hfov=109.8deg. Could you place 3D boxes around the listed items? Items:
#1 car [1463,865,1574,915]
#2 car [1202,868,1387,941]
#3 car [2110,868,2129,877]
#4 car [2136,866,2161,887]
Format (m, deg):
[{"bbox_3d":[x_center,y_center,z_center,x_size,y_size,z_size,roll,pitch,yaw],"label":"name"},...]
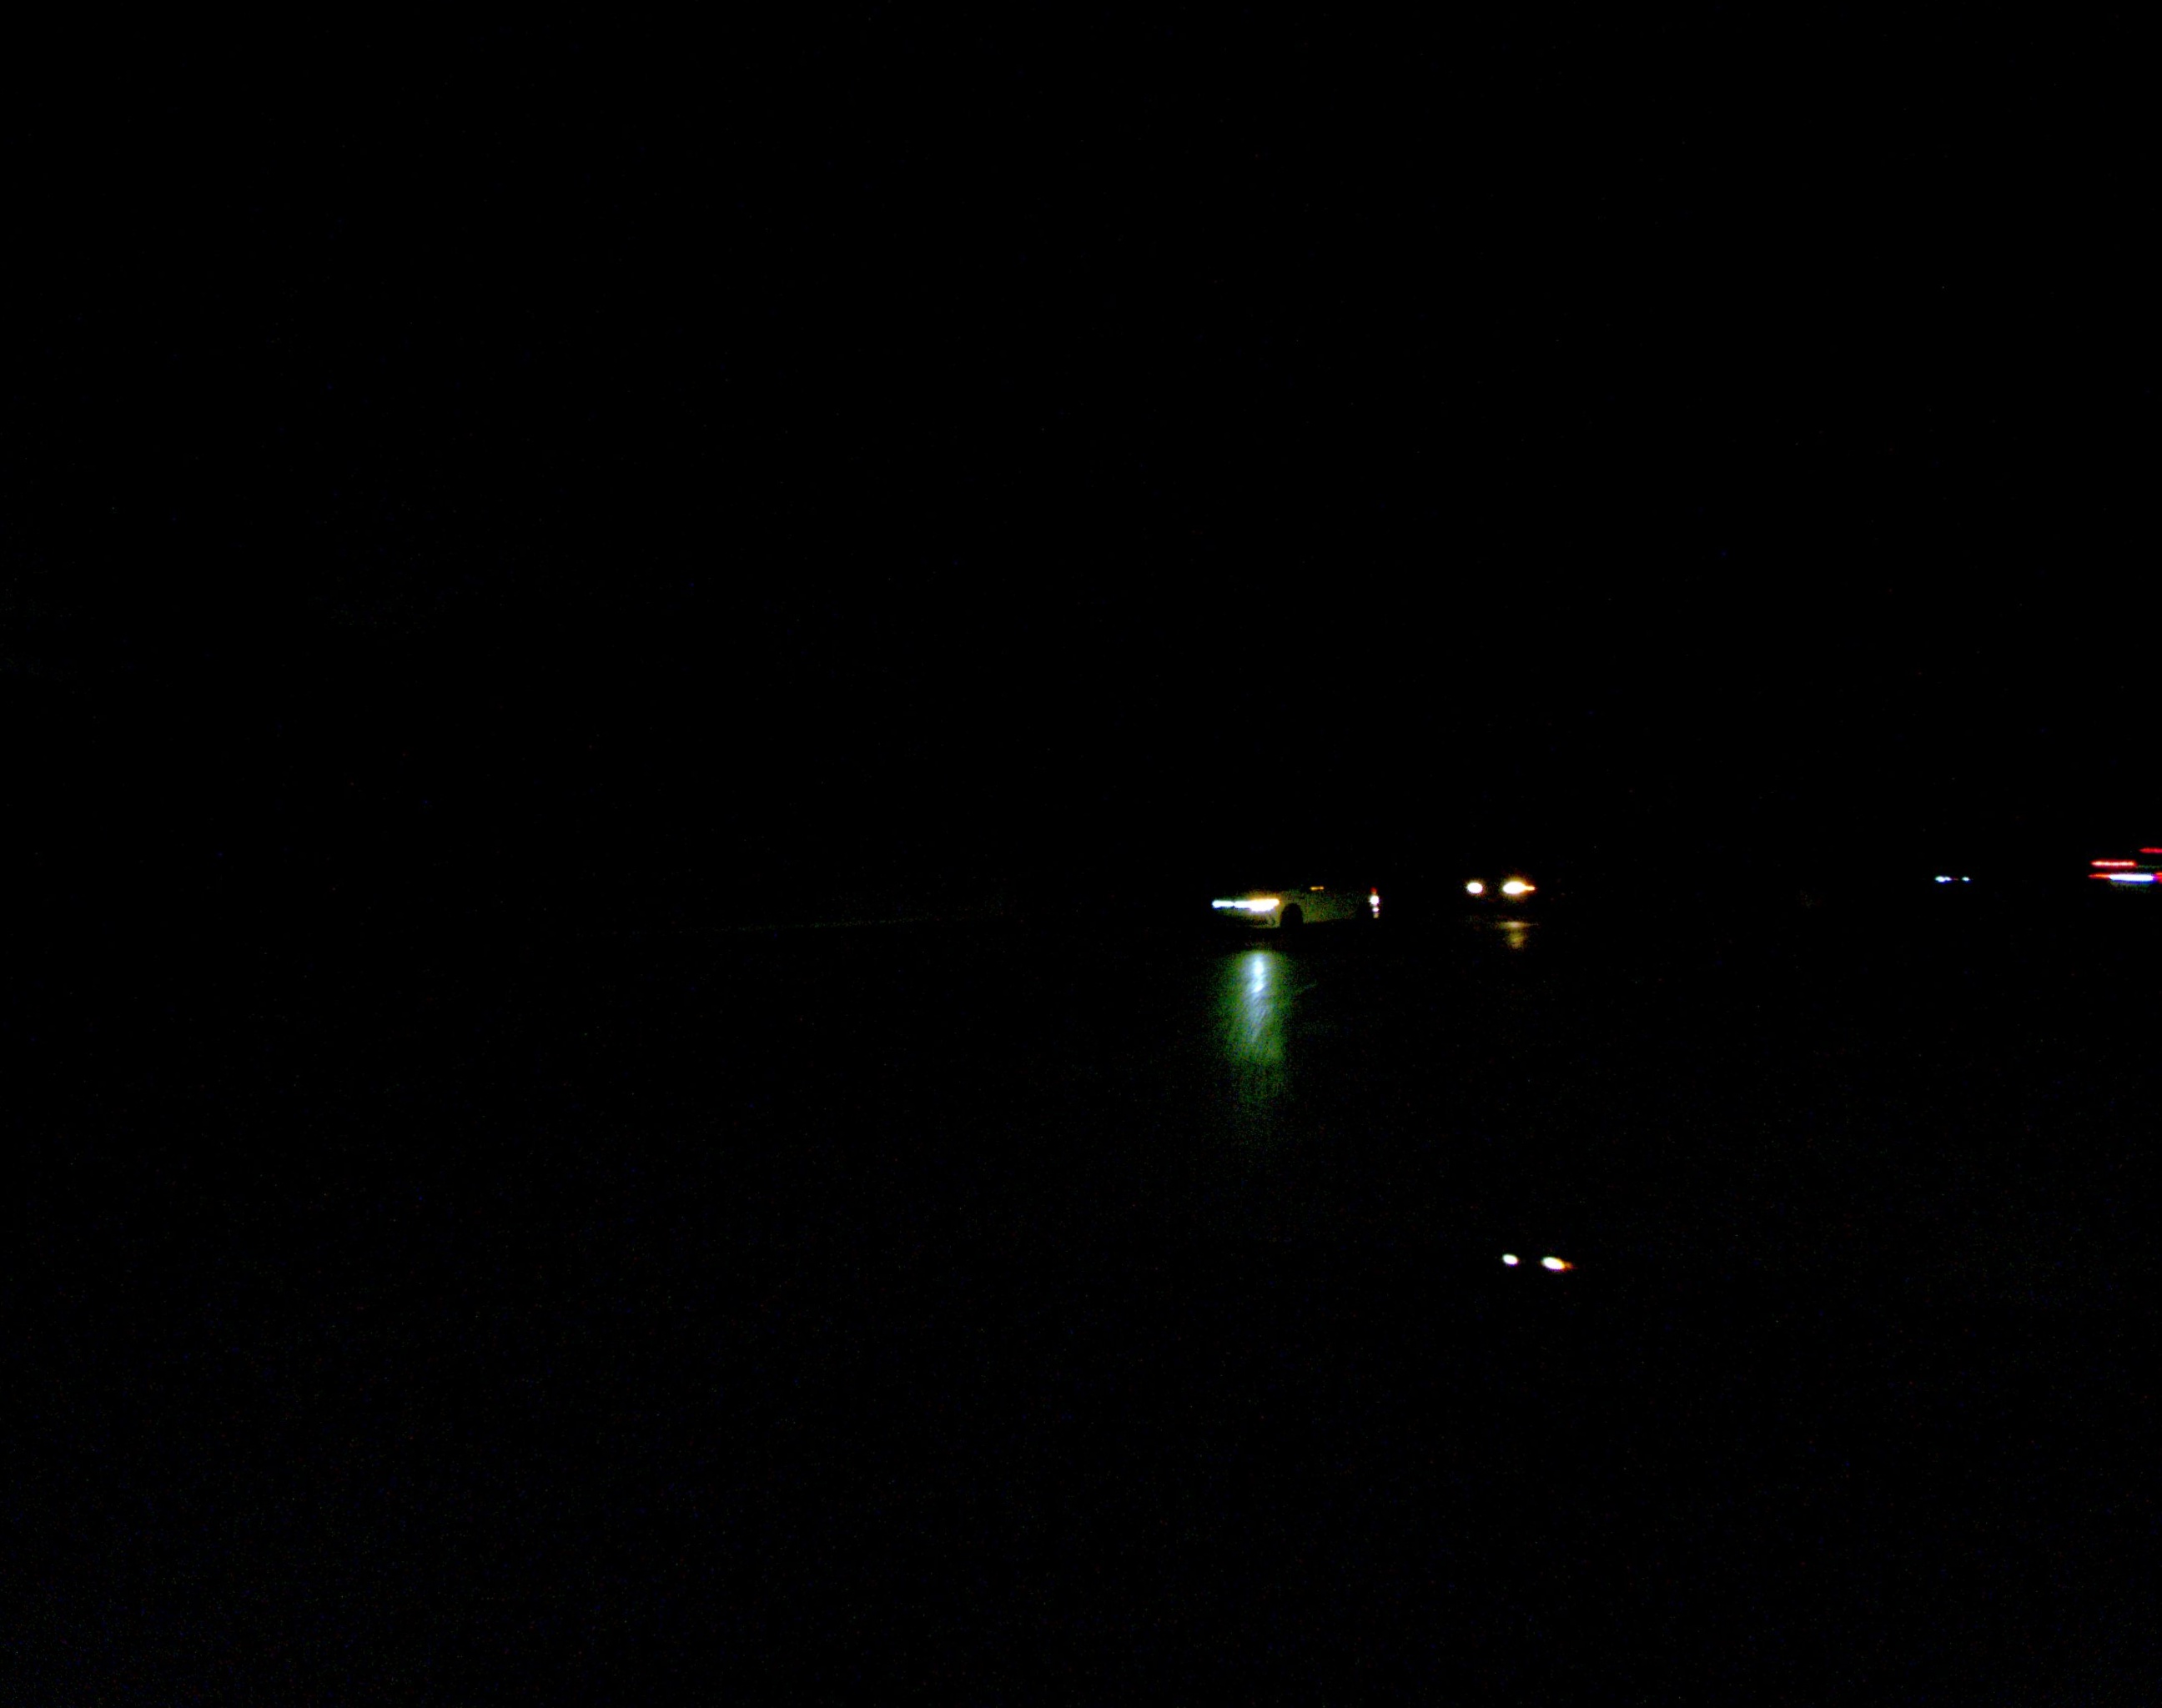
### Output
[{"bbox_3d":[13.620,1.084,23.603,3.496,1.442,1.654,0,-2,-36],"label":"car"},{"bbox_3d":[4.882,1.048,17.137,4.200,1.450,1.759,0,-2,-36],"label":"car"},{"bbox_3d":[181.293,3.271,132.643,4.008,1.510,1.927,0,0,-36],"label":"car"},{"bbox_3d":[82.089,1.694,58.151,3.522,1.511,1.546,0,1,-35],"label":"car"}]
